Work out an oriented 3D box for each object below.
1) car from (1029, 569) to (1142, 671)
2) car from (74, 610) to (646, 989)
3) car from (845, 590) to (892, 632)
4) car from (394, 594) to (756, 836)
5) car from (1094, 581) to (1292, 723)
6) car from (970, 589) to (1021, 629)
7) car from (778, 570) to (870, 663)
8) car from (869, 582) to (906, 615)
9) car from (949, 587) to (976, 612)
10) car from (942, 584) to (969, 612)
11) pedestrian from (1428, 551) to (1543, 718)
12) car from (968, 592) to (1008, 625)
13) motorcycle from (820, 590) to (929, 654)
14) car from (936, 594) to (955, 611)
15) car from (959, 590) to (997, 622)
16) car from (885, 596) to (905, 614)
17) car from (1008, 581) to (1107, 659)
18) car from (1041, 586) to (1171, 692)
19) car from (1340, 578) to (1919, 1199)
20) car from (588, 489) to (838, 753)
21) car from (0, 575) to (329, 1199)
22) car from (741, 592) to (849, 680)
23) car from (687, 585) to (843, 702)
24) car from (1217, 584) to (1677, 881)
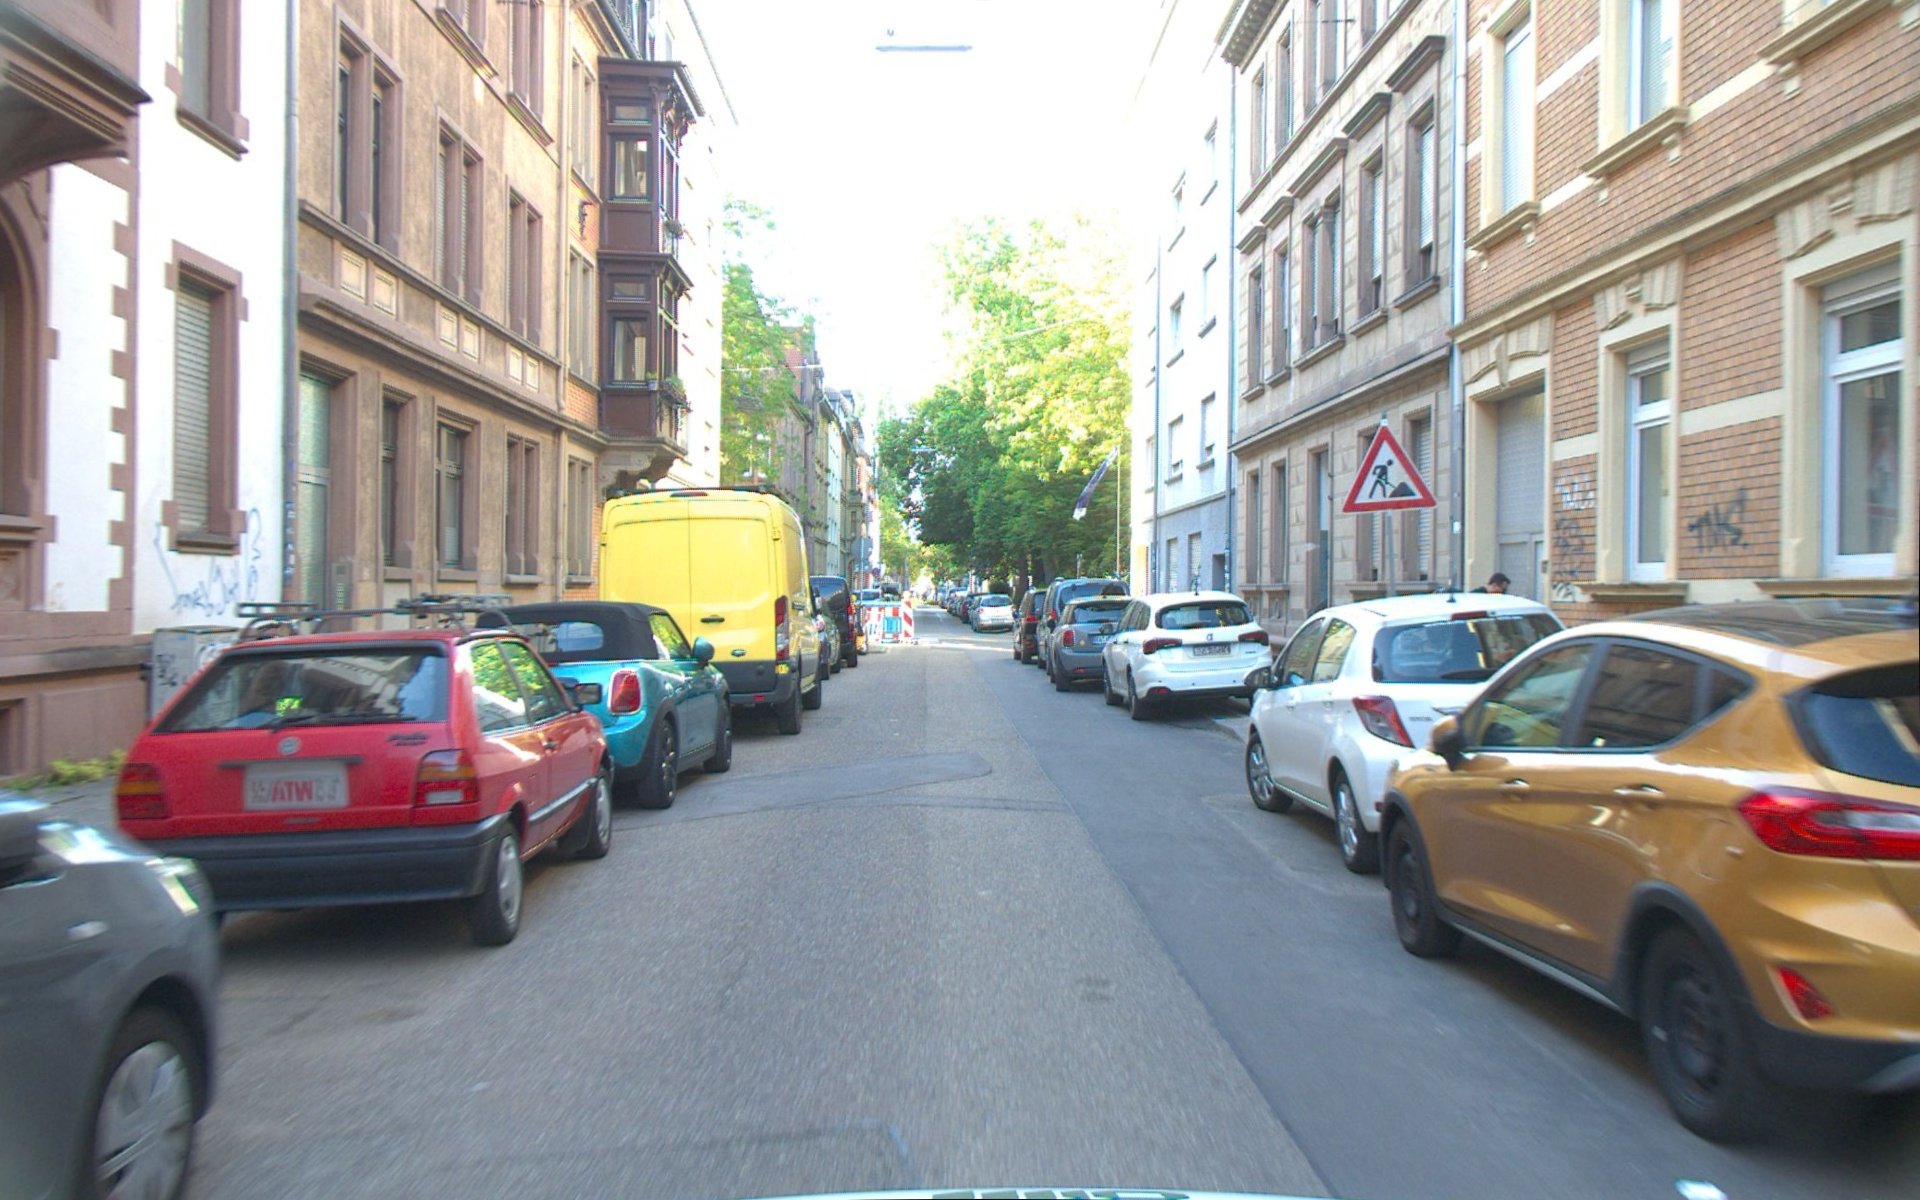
[{"bbox_3d":[2.422,0.341,33.055,1.718,1.817,4.722,-3,1,-1],"label":"car"},{"bbox_3d":[-2.680,0.786,8.261,1.585,1.349,3.611,-3,0,-2],"label":"car"},{"bbox_3d":[-4.009,0.471,73.200,1.843,1.737,3.999,-1,0,-1],"label":"car"},{"bbox_3d":[-2.772,0.751,12.812,1.683,1.437,3.898,-5,0,2],"label":"car"},{"bbox_3d":[2.936,0.584,21.742,1.719,1.544,4.441,-4,1,-2],"label":"car"},{"bbox_3d":[1.417,0.352,67.223,1.690,1.549,3.997,0,0,-4],"label":"car"},{"bbox_3d":[-2.794,0.311,34.277,1.783,1.797,4.332,0,0,-4],"label":"car"},{"bbox_3d":[-4.840,-0.071,111.142,2.262,2.151,5.169,0,0,0],"label":"car"},{"bbox_3d":[0.189,-0.059,120.065,1.793,1.733,3.998,0,0,-2],"label":"car"},{"bbox_3d":[-0.417,-0.135,138.737,2.117,2.295,4.523,0,0,-2],"label":"car"},{"bbox_3d":[5.374,0.347,16.921,0.650,1.659,0.866,-1,-1,-43],"label":"pedestrian"},{"bbox_3d":[1.381,0.420,83.589,1.804,1.624,3.999,0,0,-2],"label":"car"},{"bbox_3d":[-2.037,0.518,39.735,2.483,1.508,0.895,0,0,-29],"label":"motorcycle"},{"bbox_3d":[-1.574,0.235,176.250,1.953,1.758,3.999,0,0,-2],"label":"car"},{"bbox_3d":[0.959,0.314,88.410,1.856,1.654,3.998,0,0,-2],"label":"car"},{"bbox_3d":[-6.373,0.523,161.304,1.911,1.739,3.998,0,0,-3],"label":"car"},{"bbox_3d":[2.157,0.444,37.719,1.862,1.668,4.389,0,0,-2],"label":"car"},{"bbox_3d":[2.350,0.587,27.616,1.718,1.478,4.288,-4,1,0],"label":"car"},{"bbox_3d":[2.862,0.703,6.126,1.719,1.471,4.067,-3,0,-3],"label":"car"},{"bbox_3d":[-2.684,0.193,19.485,2.131,2.551,5.876,-2,0,-2],"label":"car"},{"bbox_3d":[-2.540,0.749,2.509,1.660,1.500,3.918,-3,1,-1],"label":"car"},{"bbox_3d":[-2.910,0.596,29.728,1.643,1.475,3.644,1,0,-1],"label":"car"},{"bbox_3d":[-2.819,0.580,24.716,1.953,1.579,3.999,0,0,-2],"label":"car"},{"bbox_3d":[2.992,0.711,11.102,1.686,1.506,4.081,-4,0,-2],"label":"car"}]
